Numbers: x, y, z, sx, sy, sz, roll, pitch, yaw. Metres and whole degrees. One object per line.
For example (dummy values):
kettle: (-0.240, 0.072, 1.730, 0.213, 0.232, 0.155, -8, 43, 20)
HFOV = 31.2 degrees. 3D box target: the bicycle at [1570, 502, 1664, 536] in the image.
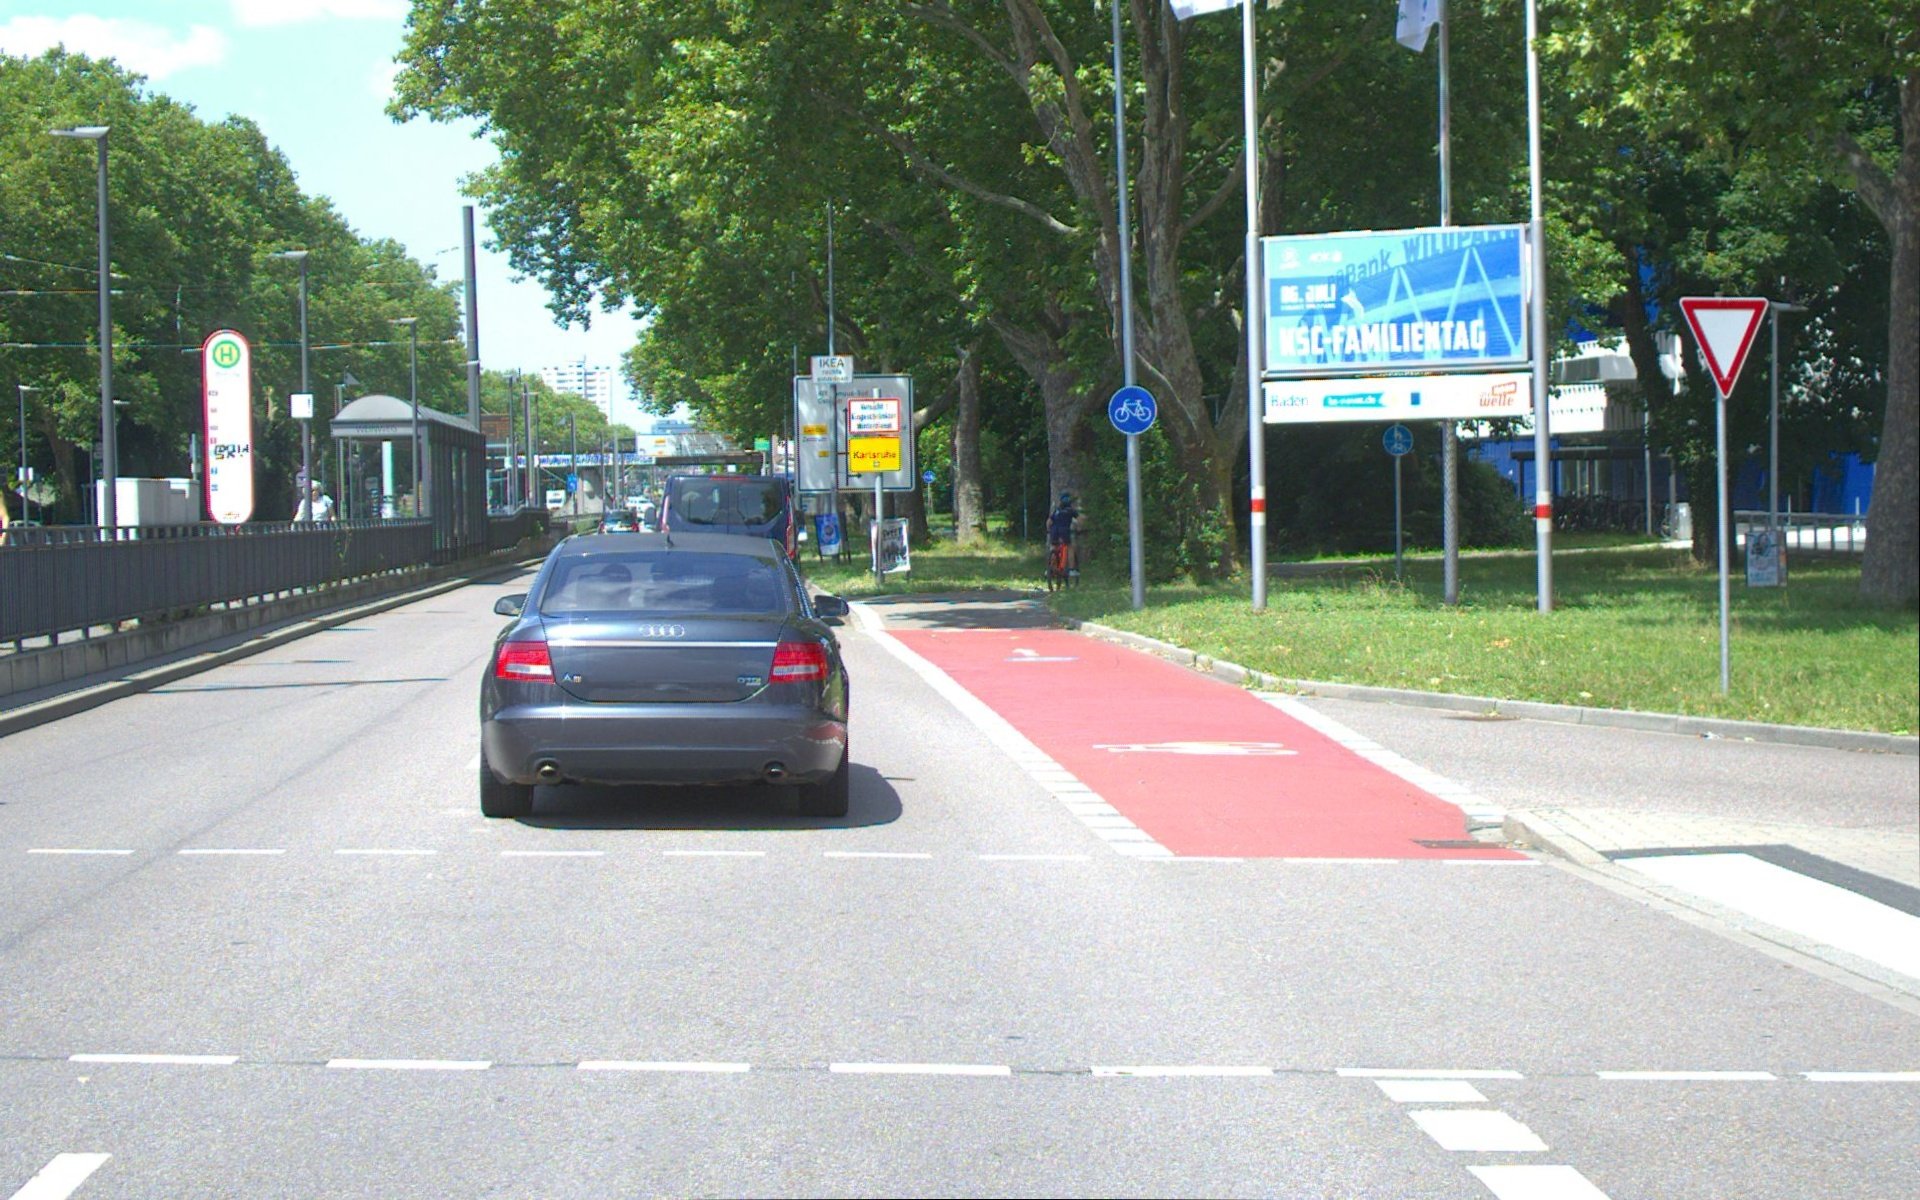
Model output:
bicycle: (18.857, -2.319, 98.660, 2.545, 0.967, 0.759, 0, 2, -8)

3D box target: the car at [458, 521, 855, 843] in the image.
car: (-1.626, 0.340, 18.071, 1.842, 1.479, 4.001, 0, 2, -6)

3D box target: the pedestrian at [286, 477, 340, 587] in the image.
pedestrian: (-9.846, -1.037, 52.342, 0.732, 1.660, 0.742, 0, 2, -5)

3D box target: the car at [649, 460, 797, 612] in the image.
car: (-3.170, -0.882, 46.590, 1.848, 1.952, 4.145, 1, 1, -2)

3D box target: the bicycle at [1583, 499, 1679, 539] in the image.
bicycle: (19.005, -2.292, 97.397, 2.545, 1.107, 0.759, 0, 2, -8)

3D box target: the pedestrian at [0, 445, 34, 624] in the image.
pedestrian: (-8.526, -0.581, 30.502, 0.497, 1.572, 0.557, 0, 2, -5)

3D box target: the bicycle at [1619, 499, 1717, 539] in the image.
bicycle: (19.579, -2.238, 95.068, 2.545, 1.107, 0.759, 0, 2, -8)

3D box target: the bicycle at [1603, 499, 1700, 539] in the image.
bicycle: (19.341, -2.262, 96.139, 2.545, 1.107, 0.759, 0, 2, -8)
